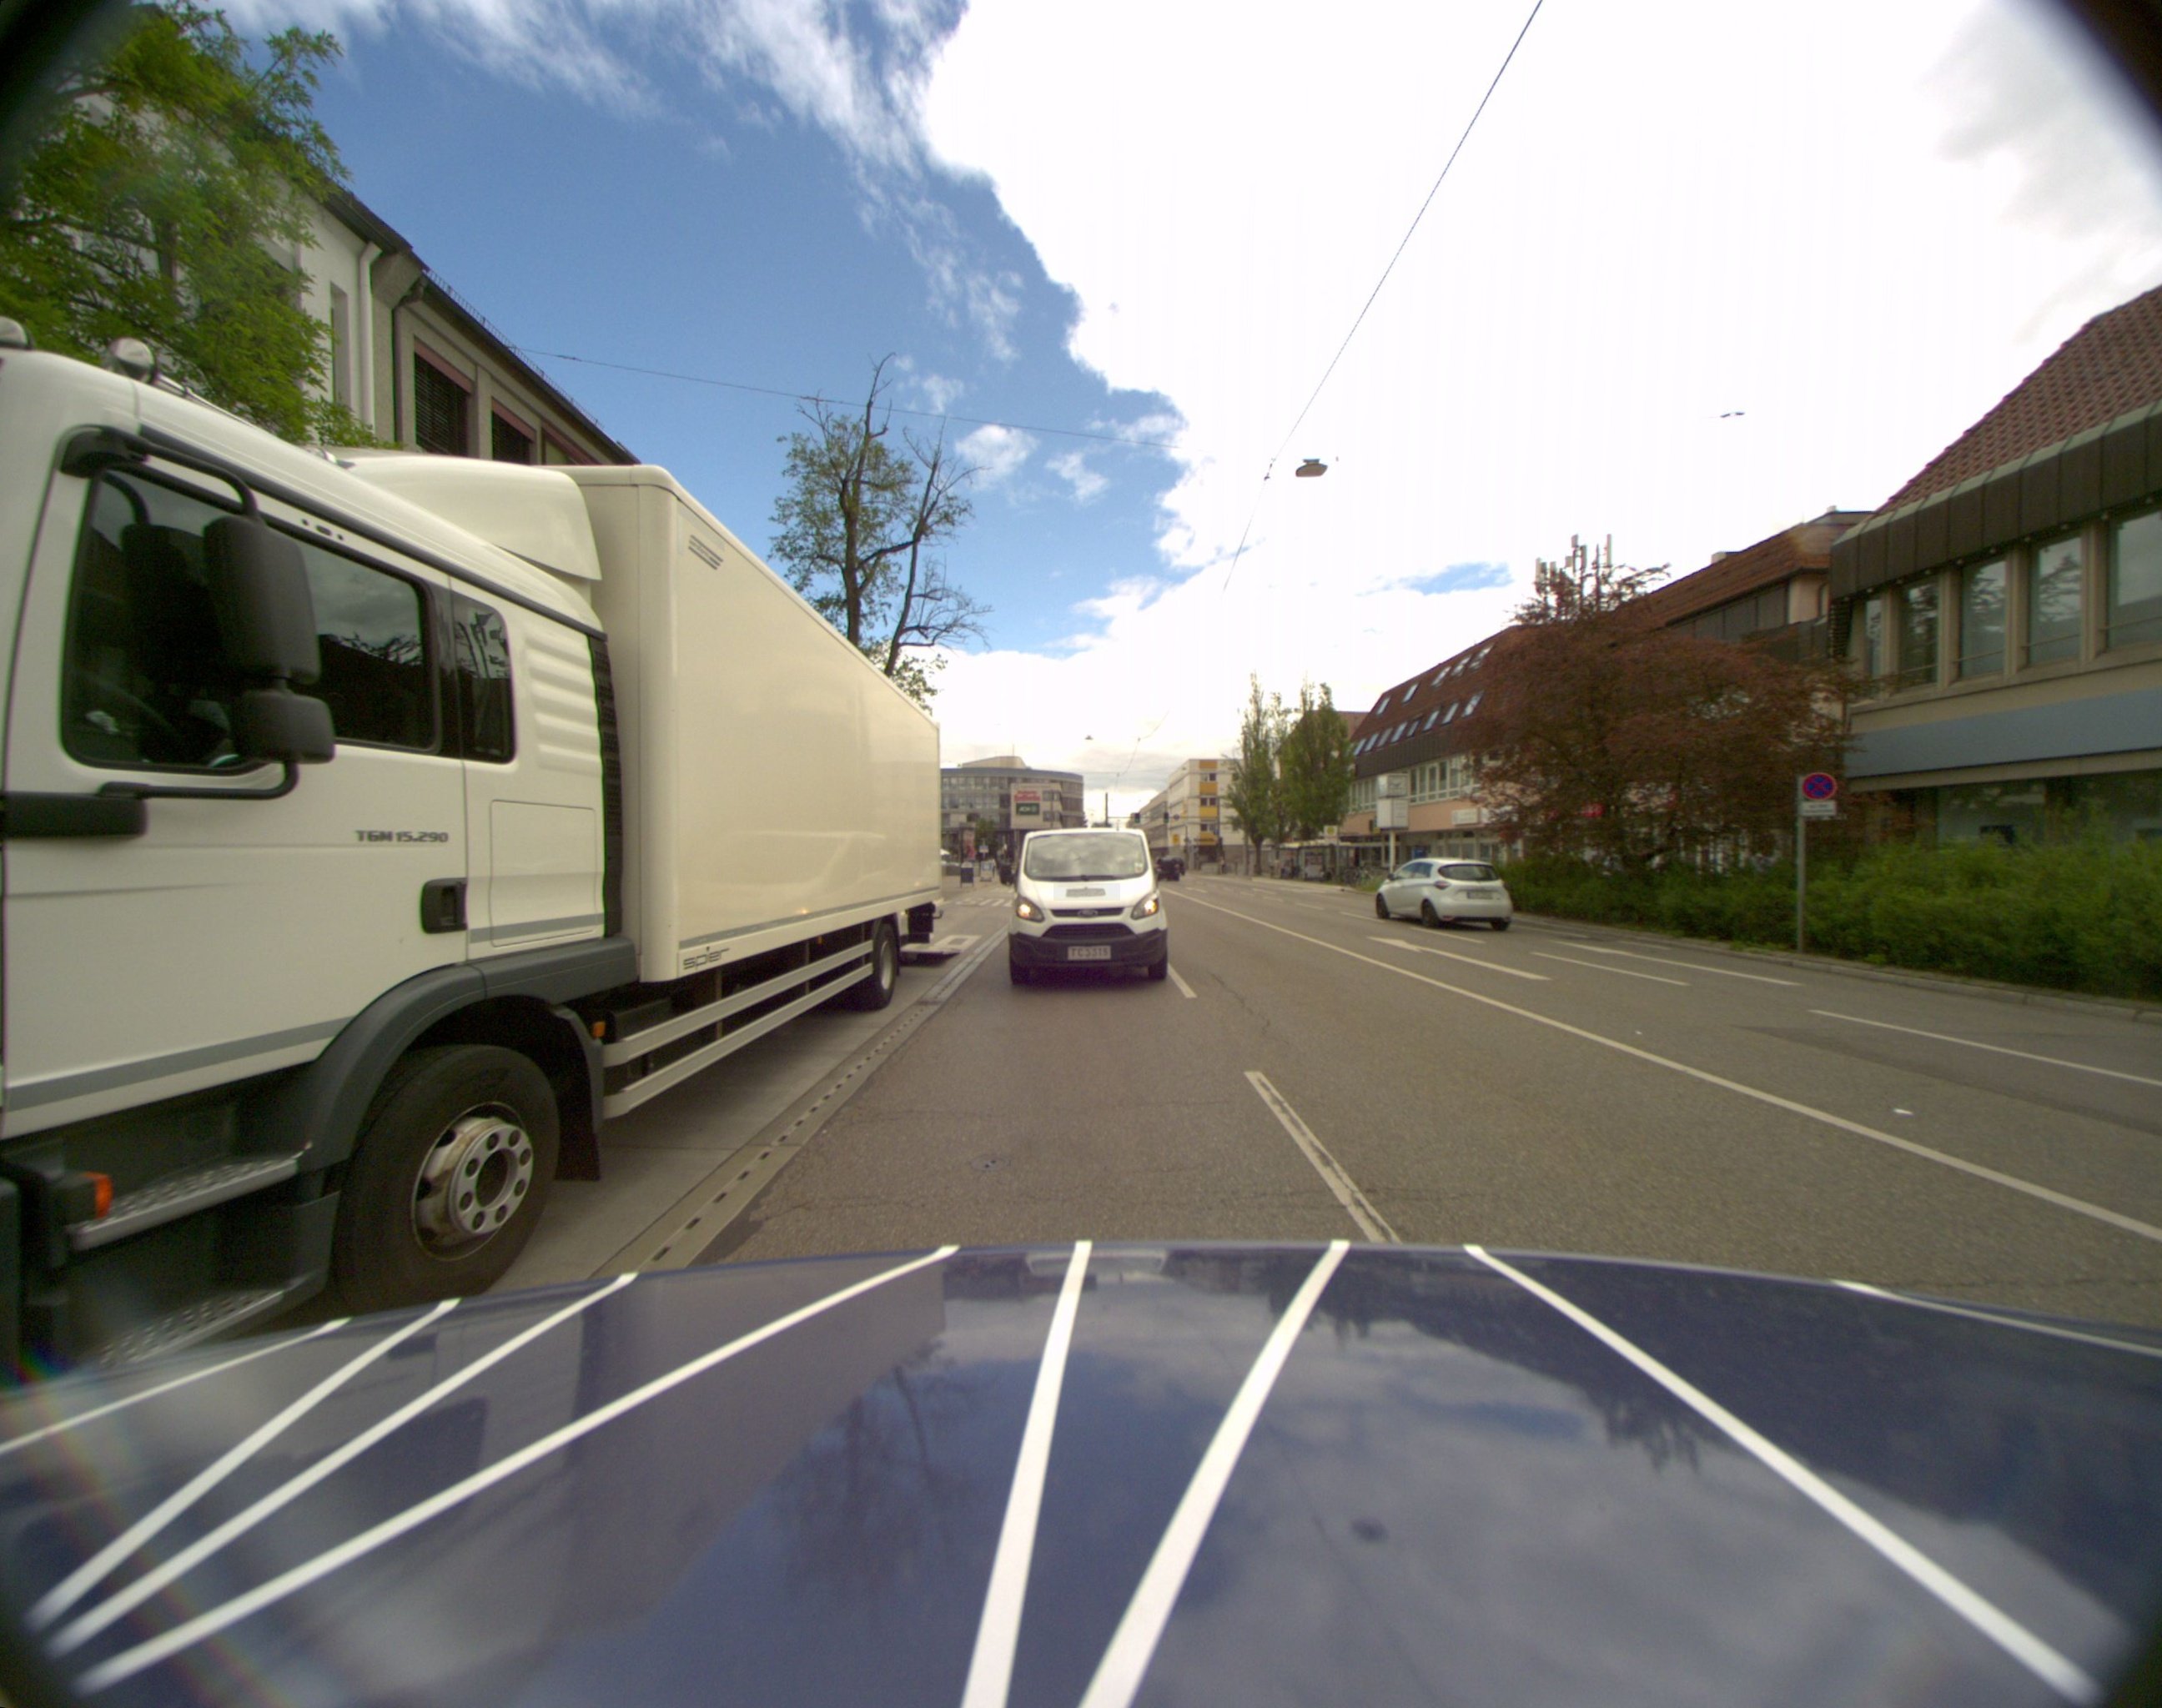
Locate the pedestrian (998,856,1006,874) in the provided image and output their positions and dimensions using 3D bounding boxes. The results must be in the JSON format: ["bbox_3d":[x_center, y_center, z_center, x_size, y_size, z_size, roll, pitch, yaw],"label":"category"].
[{"bbox_3d":[-7.385,0.999,70.848,0.689,1.625,0.853,0,0,-1],"label":"pedestrian"}]

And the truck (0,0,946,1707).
[{"bbox_3d":[-3.296,-0.129,5.995,2.695,3.540,9.766,0,0,0],"label":"truck"}]

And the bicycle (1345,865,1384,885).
[{"bbox_3d":[15.883,1.159,42.613,2.025,1.084,0.648,-1,0,-14],"label":"bicycle"}]

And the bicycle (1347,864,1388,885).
[{"bbox_3d":[15.326,1.078,40.630,2.024,1.084,0.648,0,0,-10],"label":"bicycle"}]

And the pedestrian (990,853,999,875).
[{"bbox_3d":[-6.318,0.745,55.560,0.614,1.625,0.615,0,1,-3],"label":"pedestrian"}]

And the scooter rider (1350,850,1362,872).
[{"bbox_3d":[21.408,0.544,59.073,0.615,1.702,0.588,-3,0,-3],"label":"scooter rider"}]

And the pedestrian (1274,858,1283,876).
[{"bbox_3d":[18.202,1.218,70.120,0.587,1.625,0.615,-3,0,-2],"label":"pedestrian"}]

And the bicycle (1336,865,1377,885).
[{"bbox_3d":[15.084,1.132,41.685,2.024,1.084,0.649,0,0,-5],"label":"bicycle"}]

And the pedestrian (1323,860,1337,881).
[{"bbox_3d":[15.999,1.045,48.823,0.713,1.356,0.588,-1,0,2],"label":"pedestrian"}]

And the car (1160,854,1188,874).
[{"bbox_3d":[8.589,0.907,70.386,2.074,1.728,4.693,2,0,1],"label":"car"}]

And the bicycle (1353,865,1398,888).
[{"bbox_3d":[14.675,1.109,37.837,2.024,1.084,0.648,0,0,-10],"label":"bicycle"}]

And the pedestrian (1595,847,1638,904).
[{"bbox_3d":[17.061,0.673,24.212,0.727,1.753,0.755,-5,0,4],"label":"pedestrian"}]

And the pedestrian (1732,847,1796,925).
[{"bbox_3d":[15.895,0.729,17.706,0.727,1.753,0.755,-3,0,-2],"label":"pedestrian"}]

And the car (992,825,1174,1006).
[{"bbox_3d":[0.156,0.704,11.023,1.998,2.002,5.000,-1,0,3],"label":"car"}]

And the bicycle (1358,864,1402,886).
[{"bbox_3d":[15.236,1.088,38.728,2.024,1.084,0.648,0,0,-10],"label":"bicycle"}]

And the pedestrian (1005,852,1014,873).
[{"bbox_3d":[-5.616,0.661,59.676,0.613,1.668,0.615,0,0,2],"label":"pedestrian"}]

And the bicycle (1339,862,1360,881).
[{"bbox_3d":[16.825,1.090,47.654,0.535,1.084,1.930,-1,0,-2],"label":"bicycle"}]

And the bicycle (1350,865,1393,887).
[{"bbox_3d":[15.055,1.122,39.422,2.024,1.084,0.648,0,0,-10],"label":"bicycle"}]

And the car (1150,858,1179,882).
[{"bbox_3d":[5.511,1.047,50.327,1.574,1.531,2.961,1,0,1],"label":"car"}]

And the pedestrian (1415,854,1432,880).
[{"bbox_3d":[20.520,0.794,45.481,0.713,1.538,0.588,-1,0,-1],"label":"pedestrian"}]

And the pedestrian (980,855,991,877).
[{"bbox_3d":[-7.006,0.866,55.570,0.720,1.625,0.615,0,1,-3],"label":"pedestrian"}]

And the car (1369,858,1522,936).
[{"bbox_3d":[8.205,0.898,17.511,1.644,1.559,3.926,1,0,0],"label":"car"}]
